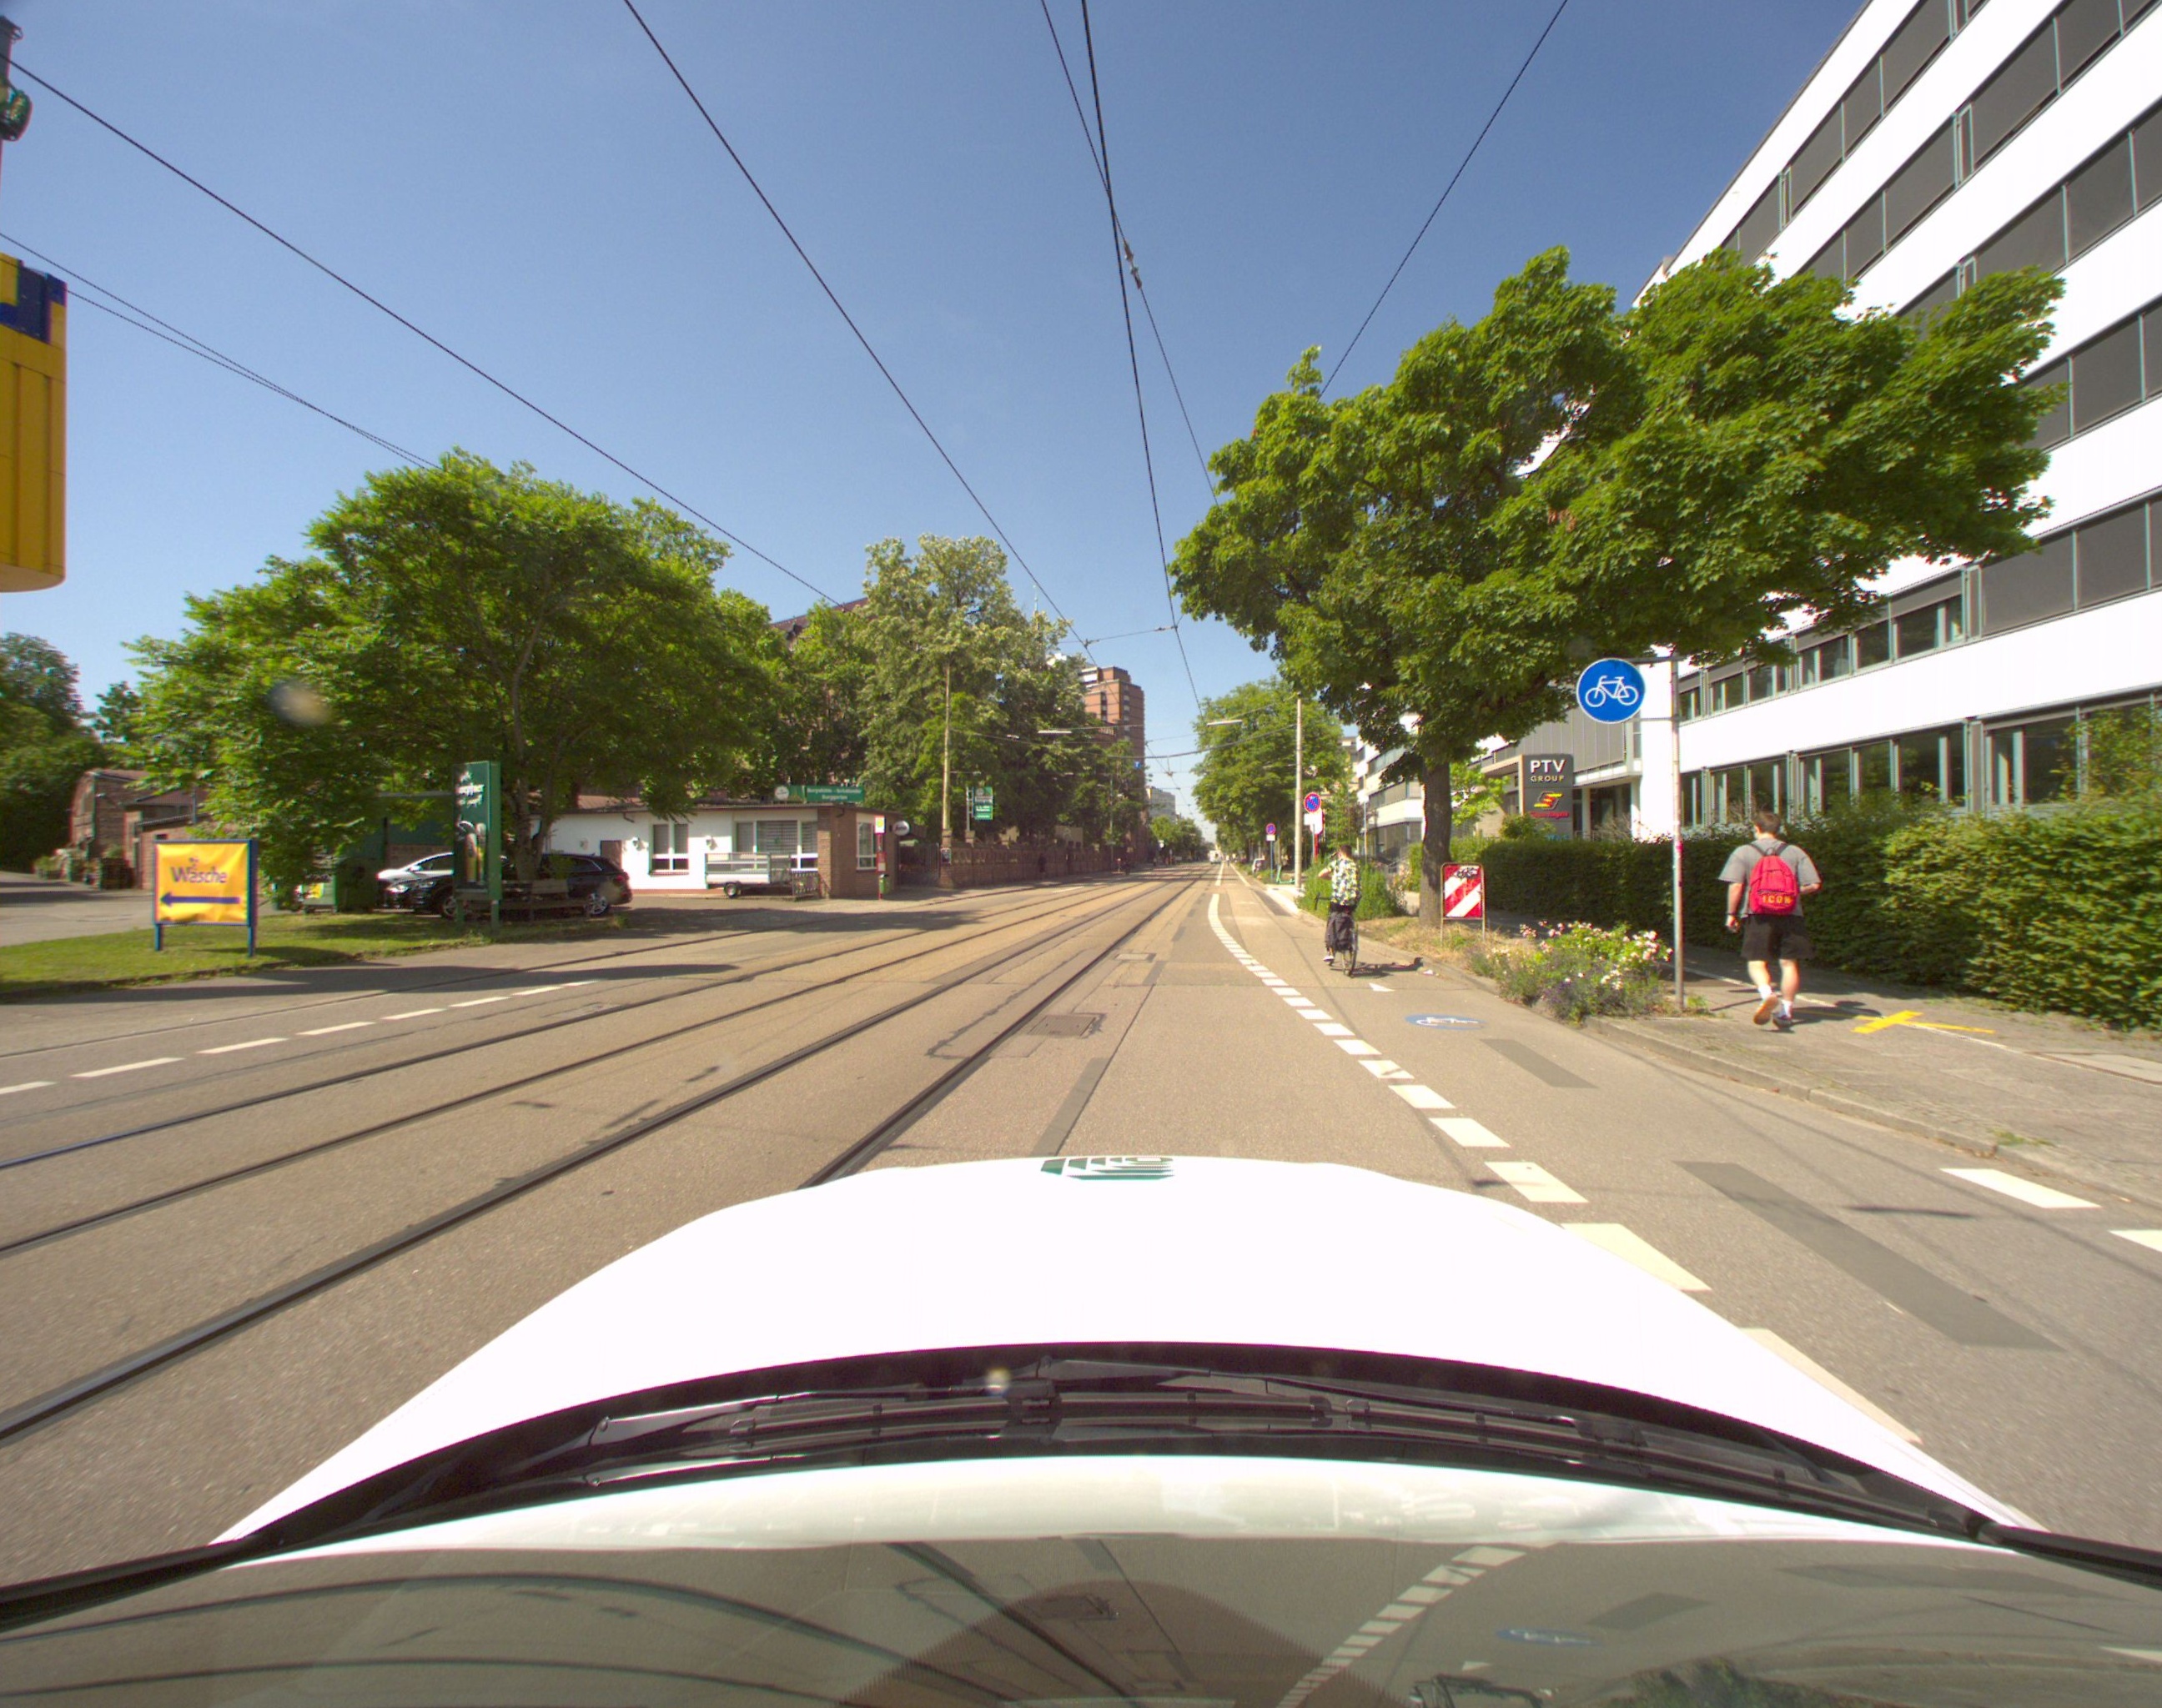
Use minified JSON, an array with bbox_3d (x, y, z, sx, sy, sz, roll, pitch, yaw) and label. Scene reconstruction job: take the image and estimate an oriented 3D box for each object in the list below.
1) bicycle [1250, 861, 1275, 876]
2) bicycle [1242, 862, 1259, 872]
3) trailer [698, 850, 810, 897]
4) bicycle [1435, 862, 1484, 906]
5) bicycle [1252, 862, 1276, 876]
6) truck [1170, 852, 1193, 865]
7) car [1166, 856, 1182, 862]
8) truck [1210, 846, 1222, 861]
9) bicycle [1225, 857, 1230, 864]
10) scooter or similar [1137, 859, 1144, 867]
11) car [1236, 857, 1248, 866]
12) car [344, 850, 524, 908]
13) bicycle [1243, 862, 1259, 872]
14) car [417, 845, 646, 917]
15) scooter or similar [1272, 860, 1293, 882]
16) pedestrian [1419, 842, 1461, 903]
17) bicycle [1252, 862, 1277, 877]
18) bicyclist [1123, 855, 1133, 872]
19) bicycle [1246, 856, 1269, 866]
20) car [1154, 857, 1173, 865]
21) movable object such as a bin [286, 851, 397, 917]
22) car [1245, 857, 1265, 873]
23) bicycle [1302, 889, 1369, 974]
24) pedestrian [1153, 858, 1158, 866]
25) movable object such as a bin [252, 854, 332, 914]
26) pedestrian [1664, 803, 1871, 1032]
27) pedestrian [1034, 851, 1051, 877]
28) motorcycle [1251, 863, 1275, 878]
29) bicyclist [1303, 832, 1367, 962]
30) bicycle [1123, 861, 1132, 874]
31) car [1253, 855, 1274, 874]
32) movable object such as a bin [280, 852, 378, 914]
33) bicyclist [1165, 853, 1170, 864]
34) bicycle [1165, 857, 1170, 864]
[{"bbox_3d":[14.419,1.163,64.663,1.892,1.169,0.821,-1,-1,9],"label":"bicycle"},{"bbox_3d":[18.502,1.422,88.901,1.714,1.086,0.616,-1,-1,9],"label":"bicycle"},{"bbox_3d":[-11.557,0.668,28.882,3.253,1.603,1.729,0,-1,11],"label":"trailer"},{"bbox_3d":[10.023,0.765,21.657,0.632,1.117,2.072,0,0,9],"label":"bicycle"},{"bbox_3d":[14.115,1.152,62.828,1.782,1.086,0.728,-1,-1,9],"label":"bicycle"},{"bbox_3d":[30.796,1.317,249.192,2.786,3.859,10.063,-1,-1,32],"label":"truck"},{"bbox_3d":[25.163,1.320,220.841,4.001,1.750,1.986,0,-1,-21],"label":"car"},{"bbox_3d":[28.540,-0.035,172.319,2.388,3.109,6.053,0,0,10],"label":"truck"},{"bbox_3d":[22.819,1.057,126.830,0.850,1.110,2.145,0,0,9],"label":"bicycle"},{"bbox_3d":[8.343,1.223,114.207,1.193,1.129,0.330,0,-1,-41],"label":"scooter or similar"},{"bbox_3d":[25.395,1.193,128.727,1.621,1.355,3.910,-1,0,8],"label":"car"},{"bbox_3d":[-18.889,0.681,23.988,4.018,1.557,1.827,0,0,-37],"label":"car"},{"bbox_3d":[18.672,1.430,89.474,1.714,1.086,0.480,-1,-1,9],"label":"bicycle"},{"bbox_3d":[-13.926,0.625,20.867,4.680,1.640,1.998,0,0,-37],"label":"car"},{"bbox_3d":[11.089,0.943,44.812,1.118,1.166,0.678,-1,-1,12],"label":"scooter or similar"},{"bbox_3d":[9.562,0.493,21.709,0.683,1.563,0.990,-2,-1,5],"label":"pedestrian"},{"bbox_3d":[14.268,1.224,63.341,1.838,1.132,0.682,-1,-1,9],"label":"bicycle"},{"bbox_3d":[4.304,0.872,74.639,0.736,1.531,0.950,0,0,10],"label":"bicyclist"},{"bbox_3d":[23.723,0.998,109.571,3.007,1.332,1.045,-1,-1,13],"label":"bicycle"},{"bbox_3d":[19.030,1.529,188.324,4.009,1.811,1.873,0,-1,-28],"label":"car"},{"bbox_3d":[-17.594,0.683,19.410,1.408,1.502,1.384,0,0,13],"label":"movable object such as a bin"},{"bbox_3d":[17.139,1.071,80.472,1.621,1.483,4.283,-1,0,8],"label":"car"},{"bbox_3d":[3.520,1.022,11.403,0.605,0.984,2.170,0,0,10],"label":"bicycle"},{"bbox_3d":[12.990,1.376,142.130,0.880,1.512,1.476,-1,-1,1],"label":"pedestrian"},{"bbox_3d":[-20.866,0.775,21.552,1.312,1.502,1.339,-3,-1,39],"label":"movable object such as a bin"},{"bbox_3d":[5.841,0.504,7.012,0.885,1.818,1.074,0,0,3],"label":"pedestrian"},{"bbox_3d":[-2.643,0.687,56.149,0.970,1.816,1.188,0,-1,10],"label":"pedestrian"},{"bbox_3d":[13.515,1.205,60.601,1.714,1.086,0.660,-1,-1,9],"label":"motorcycle"},{"bbox_3d":[3.501,0.569,11.299,0.712,1.724,0.990,0,0,9],"label":"bicyclist"},{"bbox_3d":[4.280,1.220,74.657,0.588,1.105,2.060,0,0,10],"label":"bicycle"},{"bbox_3d":[15.353,0.865,68.521,1.619,1.472,3.641,0,0,11],"label":"car"},{"bbox_3d":[-19.036,0.703,20.636,1.404,1.502,1.387,-1,0,26],"label":"movable object such as a bin"},{"bbox_3d":[14.182,0.701,133.431,0.721,1.698,1.150,-1,-1,9],"label":"bicyclist"},{"bbox_3d":[14.174,1.050,133.497,0.658,1.154,2.020,0,0,10],"label":"bicycle"}]
